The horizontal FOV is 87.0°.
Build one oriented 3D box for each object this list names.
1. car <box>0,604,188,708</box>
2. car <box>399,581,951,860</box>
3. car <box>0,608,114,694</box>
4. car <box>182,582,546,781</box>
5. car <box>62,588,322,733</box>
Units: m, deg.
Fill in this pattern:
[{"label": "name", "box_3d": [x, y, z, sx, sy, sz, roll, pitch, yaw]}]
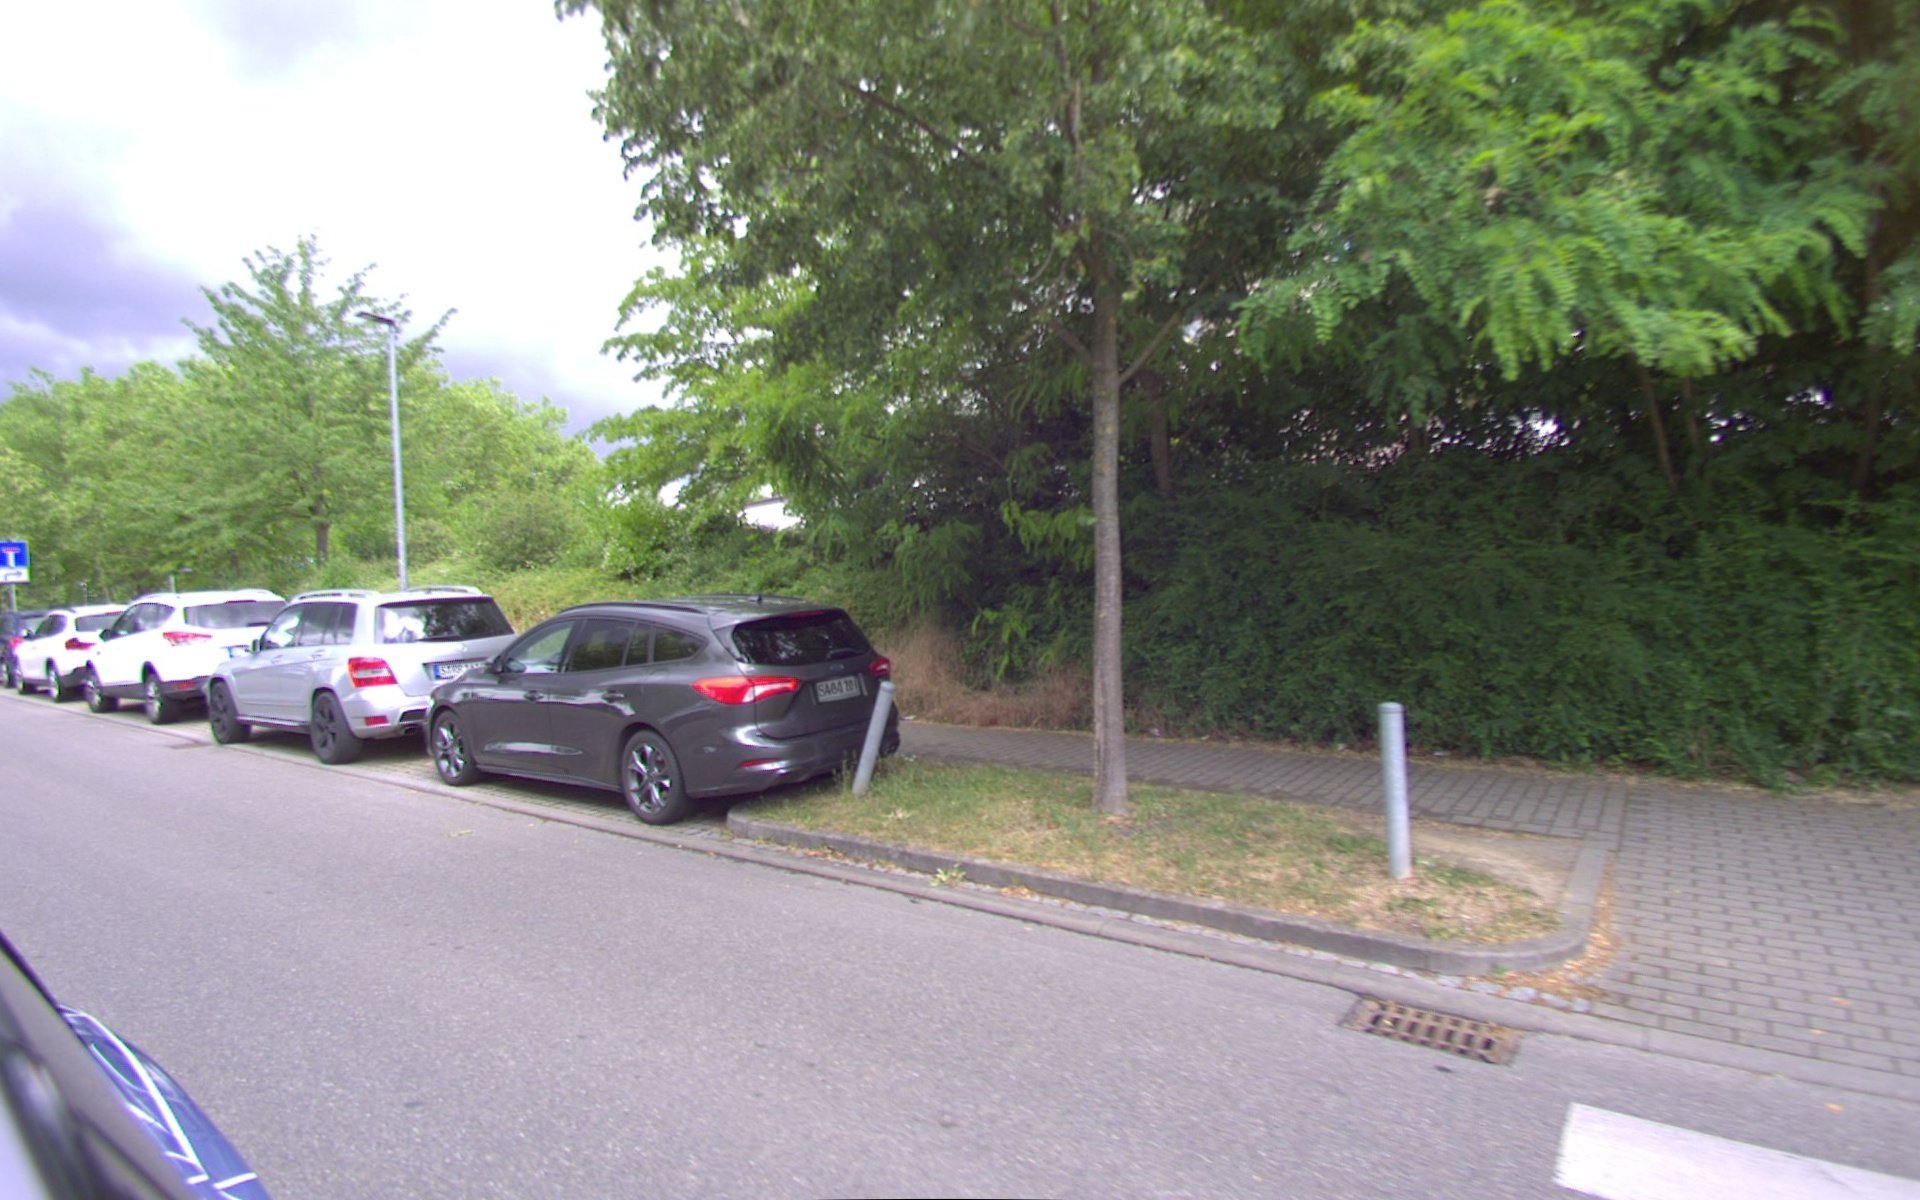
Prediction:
[{"label": "car", "box_3d": [-15.406, 0.947, 17.935, 4.224, 1.522, 1.674, -2, 3, 38]}, {"label": "car", "box_3d": [-2.356, 0.720, 7.693, 4.450, 1.475, 1.674, -2, 3, 38]}, {"label": "car", "box_3d": [-19.256, 1.026, 21.085, 3.948, 1.498, 1.674, -2, 3, 39]}, {"label": "car", "box_3d": [-6.507, 0.713, 10.852, 4.472, 1.627, 1.782, -1, 3, 38]}, {"label": "car", "box_3d": [-11.074, 0.798, 14.486, 4.430, 1.677, 1.790, -2, 3, 38]}]
